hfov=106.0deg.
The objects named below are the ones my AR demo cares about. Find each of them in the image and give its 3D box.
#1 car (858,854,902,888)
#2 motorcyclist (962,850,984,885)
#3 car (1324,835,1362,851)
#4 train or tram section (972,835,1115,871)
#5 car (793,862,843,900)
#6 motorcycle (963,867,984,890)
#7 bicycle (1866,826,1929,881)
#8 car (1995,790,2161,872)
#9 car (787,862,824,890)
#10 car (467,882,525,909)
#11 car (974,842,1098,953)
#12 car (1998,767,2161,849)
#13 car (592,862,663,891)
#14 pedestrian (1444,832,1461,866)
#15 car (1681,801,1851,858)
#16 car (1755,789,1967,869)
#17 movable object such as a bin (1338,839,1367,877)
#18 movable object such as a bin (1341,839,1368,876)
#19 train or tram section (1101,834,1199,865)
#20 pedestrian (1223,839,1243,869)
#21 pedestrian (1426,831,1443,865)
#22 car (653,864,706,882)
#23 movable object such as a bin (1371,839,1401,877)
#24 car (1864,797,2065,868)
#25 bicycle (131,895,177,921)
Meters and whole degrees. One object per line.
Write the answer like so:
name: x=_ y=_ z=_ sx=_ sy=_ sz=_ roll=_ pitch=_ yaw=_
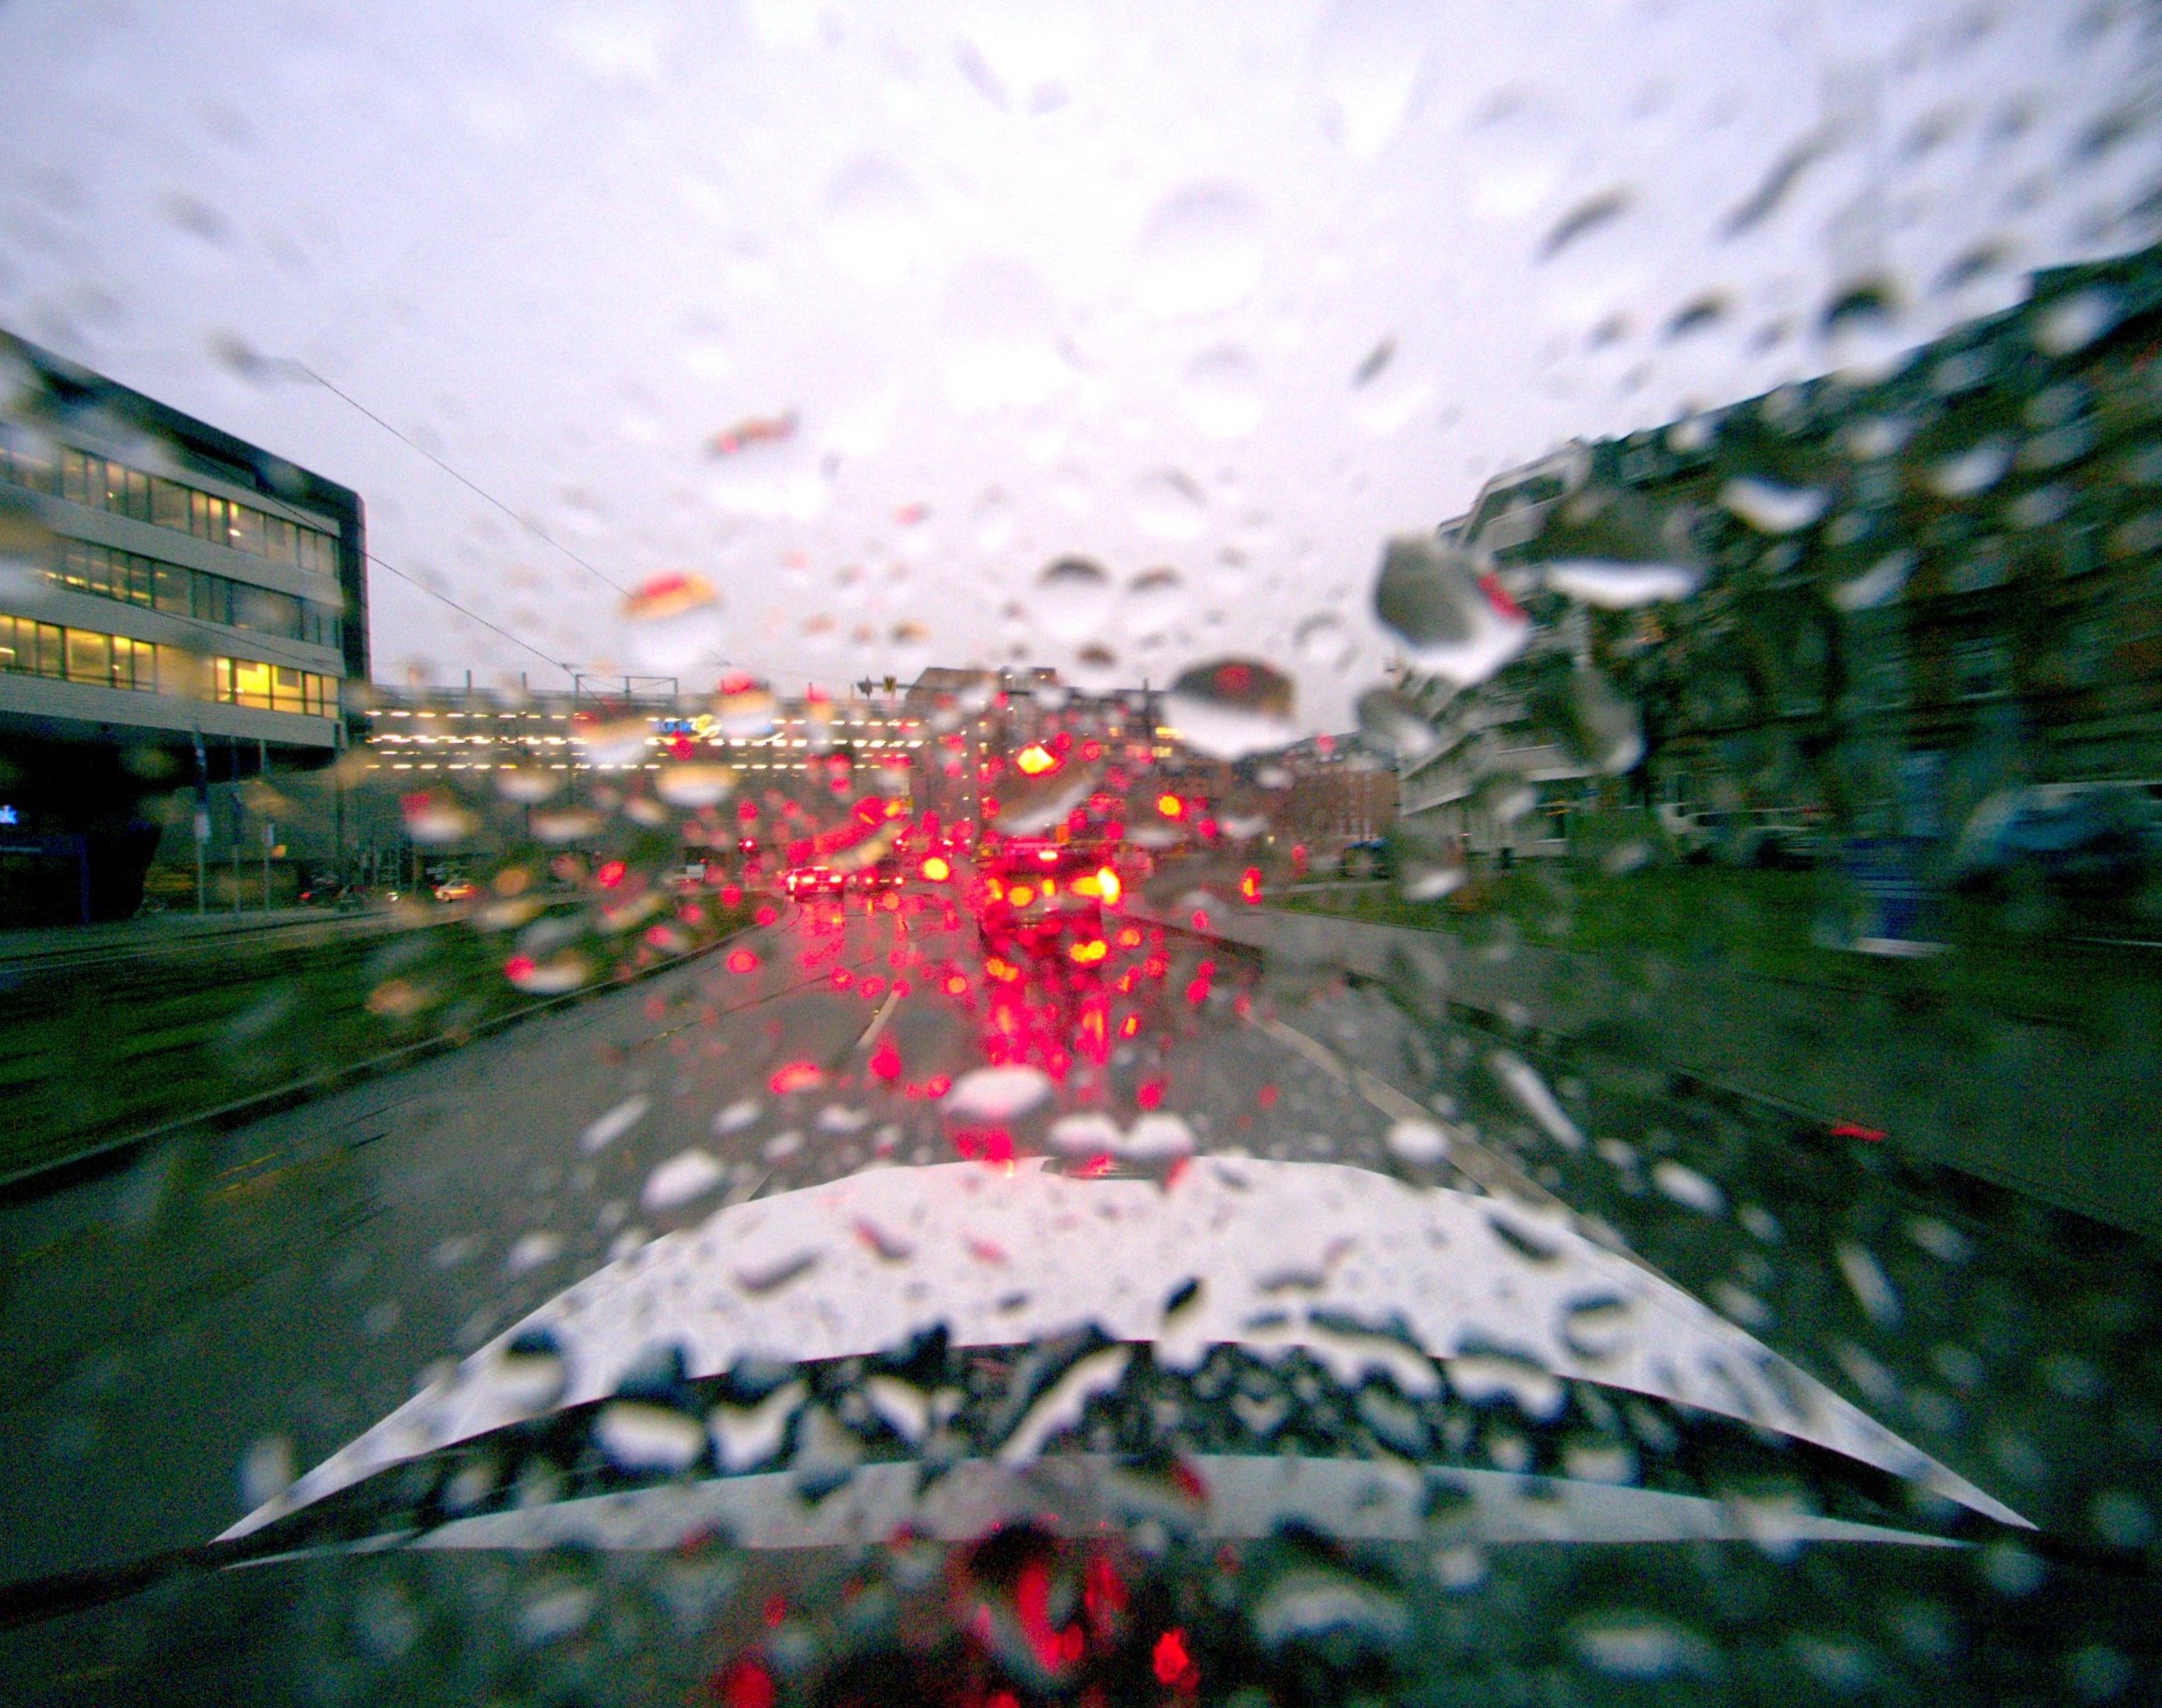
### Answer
car: x=-10.623 y=0.891 z=42.924 sx=1.643 sy=1.697 sz=3.641 roll=-1 pitch=-1 yaw=-24
motorcyclist: x=-4.898 y=0.620 z=37.048 sx=0.867 sy=1.534 sz=1.106 roll=-2 pitch=0 yaw=-6
car: x=34.255 y=-1.366 z=106.441 sx=4.968 sy=2.014 sz=1.979 roll=0 pitch=-1 yaw=-34
train or tram section: x=-3.713 y=-0.212 z=88.235 sx=16.729 sy=3.260 sz=2.312 roll=-2 pitch=0 yaw=-35
car: x=-12.140 y=1.214 z=37.473 sx=1.761 sy=1.574 sz=3.968 roll=-2 pitch=0 yaw=-23
motorcycle: x=-4.885 y=1.117 z=37.075 sx=0.851 sy=0.972 sz=1.578 roll=-2 pitch=0 yaw=-5
bicycle: x=15.224 y=-0.030 z=15.219 sx=0.508 sy=0.936 sz=1.663 roll=-3 pitch=0 yaw=35
car: x=18.767 y=-0.429 z=14.756 sx=3.861 sy=1.337 sz=1.686 roll=-2 pitch=0 yaw=-22
car: x=-15.936 y=1.263 z=47.117 sx=1.890 sy=1.486 sz=3.975 roll=-2 pitch=0 yaw=-18
car: x=-36.147 y=2.528 z=50.415 sx=1.828 sy=1.435 sz=4.621 roll=0 pitch=-1 yaw=-22
car: x=-0.979 y=0.719 z=15.006 sx=1.736 sy=1.738 sz=4.230 roll=0 pitch=-1 yaw=-11
car: x=28.196 y=-1.224 z=21.879 sx=1.981 sy=2.013 sz=5.002 roll=-4 pitch=-1 yaw=10
car: x=-32.665 y=1.621 z=58.789 sx=4.379 sy=2.014 sz=1.982 roll=0 pitch=-1 yaw=-27
pedestrian: x=18.674 y=-0.259 z=40.944 sx=0.671 sy=1.714 sz=0.631 roll=0 pitch=-1 yaw=10
car: x=25.322 y=-0.821 z=30.245 sx=4.688 sy=1.919 sz=2.012 roll=-1 pitch=-1 yaw=42
car: x=18.816 y=-0.589 z=19.693 sx=3.997 sy=1.636 sz=1.933 roll=-3 pitch=-1 yaw=-17
movable object such as a bin: x=10.940 y=0.149 z=32.787 sx=1.006 sy=1.416 sz=1.230 roll=-4 pitch=0 yaw=18
movable object such as a bin: x=11.437 y=0.130 z=34.095 sx=1.019 sy=1.495 sz=1.335 roll=-2 pitch=0 yaw=18
train or tram section: x=8.321 y=-0.609 z=96.606 sx=13.054 sy=3.260 sz=2.312 roll=-2 pitch=0 yaw=-35
pedestrian: x=9.788 y=0.027 z=52.466 sx=1.165 sy=1.924 sz=0.899 roll=0 pitch=-1 yaw=3
pedestrian: x=17.836 y=-0.285 z=41.061 sx=0.671 sy=1.714 sz=0.607 roll=0 pitch=-1 yaw=10
car: x=-44.328 y=2.052 z=90.034 sx=5.103 sy=1.962 sz=1.875 roll=0 pitch=-1 yaw=-25
movable object such as a bin: x=12.184 y=0.148 z=32.501 sx=1.024 sy=1.490 sz=1.047 roll=0 pitch=-1 yaw=27
car: x=18.534 y=-0.449 z=17.096 sx=3.747 sy=1.354 sz=1.665 roll=-1 pitch=0 yaw=-22
bicycle: x=-44.109 y=2.553 z=38.761 sx=0.555 sy=1.090 sz=1.605 roll=-2 pitch=0 yaw=-12
